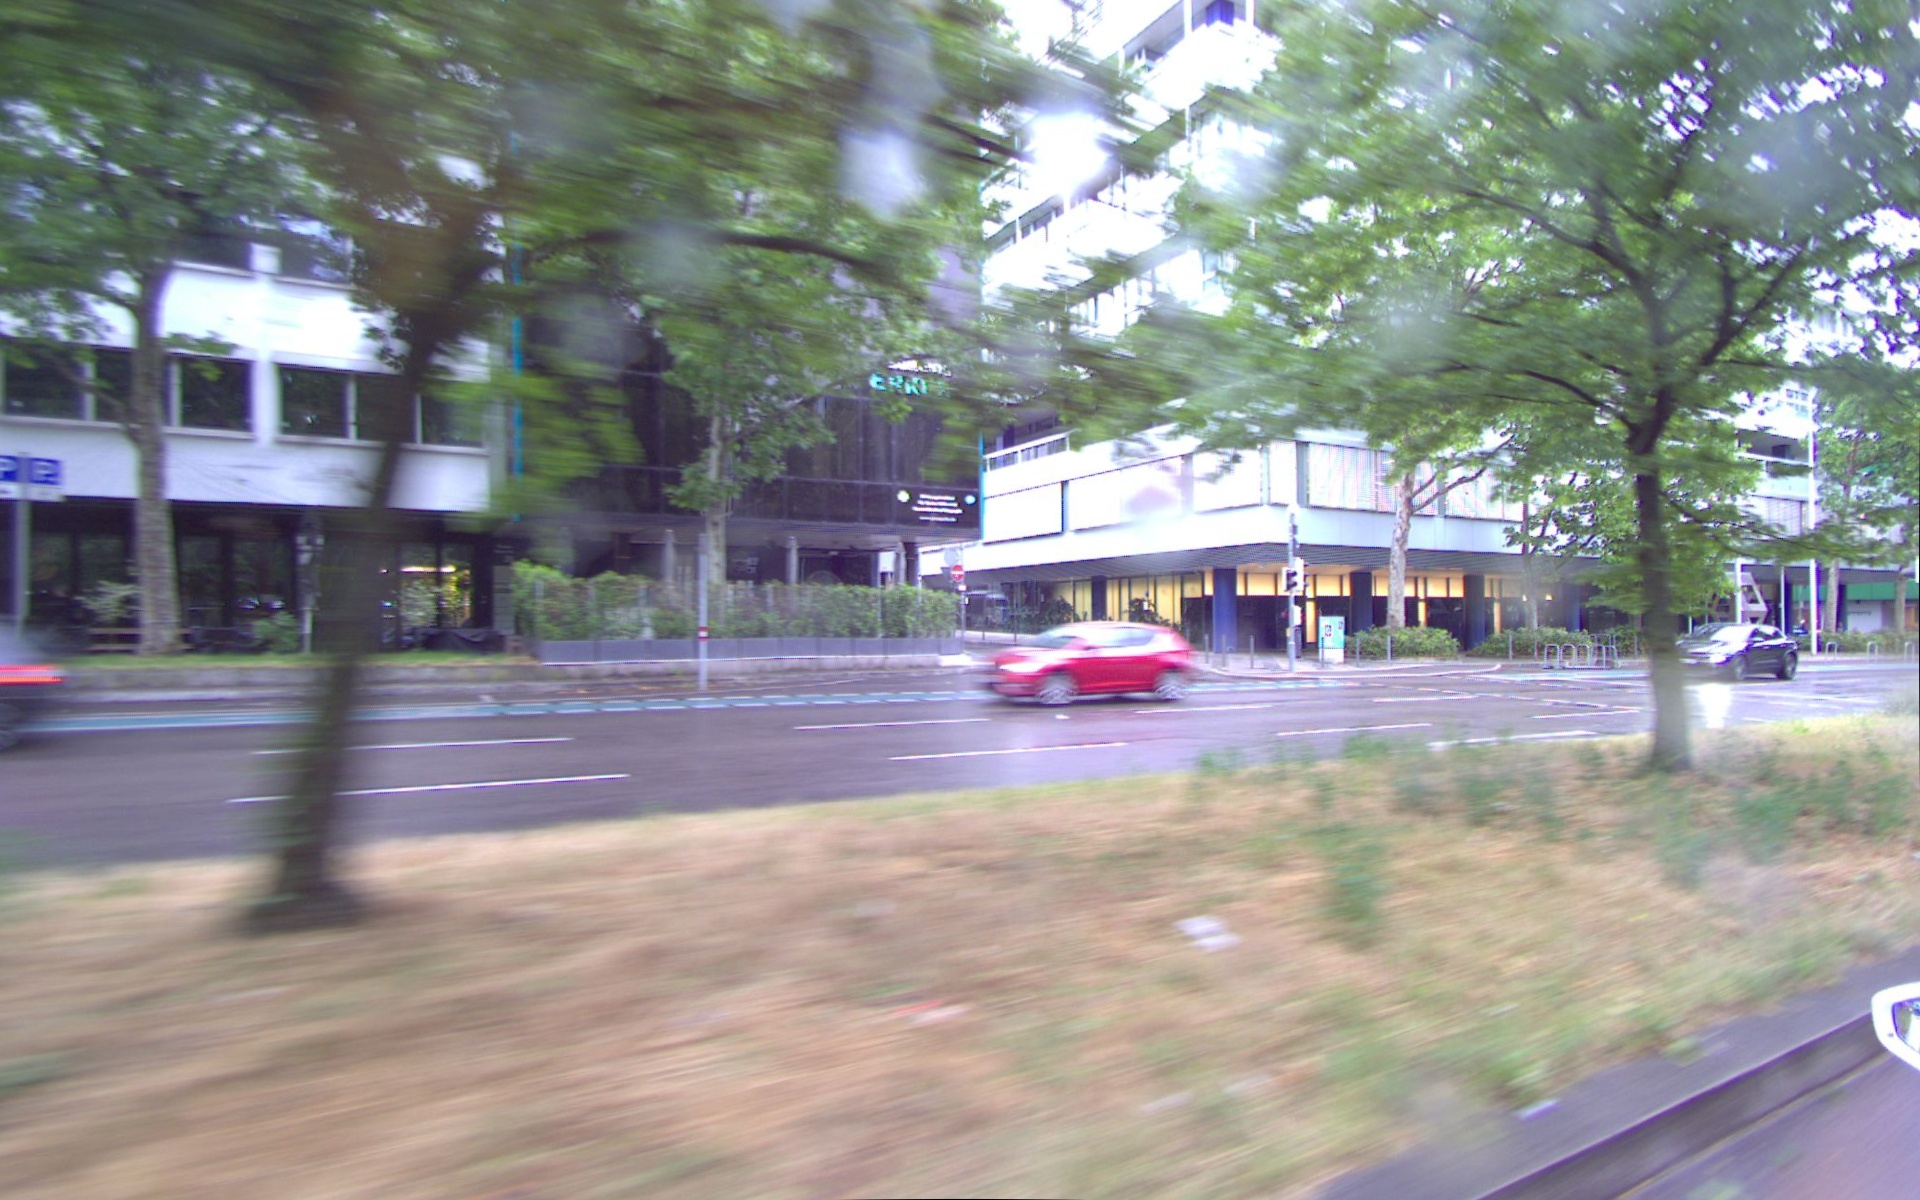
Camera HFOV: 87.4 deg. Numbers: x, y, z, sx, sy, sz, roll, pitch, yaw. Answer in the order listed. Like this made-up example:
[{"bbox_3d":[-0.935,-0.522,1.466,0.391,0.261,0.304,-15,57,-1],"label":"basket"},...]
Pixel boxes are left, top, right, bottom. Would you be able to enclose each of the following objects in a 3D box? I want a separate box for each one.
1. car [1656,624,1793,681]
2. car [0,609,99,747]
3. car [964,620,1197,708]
[{"bbox_3d":[22.737,1.509,29.841,4.140,1.572,1.821,1,-1,-30],"label":"car"},{"bbox_3d":[-11.608,0.792,10.268,3.954,1.408,1.834,1,-1,-31],"label":"car"},{"bbox_3d":[2.241,1.089,18.351,4.136,1.412,1.606,0,-1,-31],"label":"car"}]
